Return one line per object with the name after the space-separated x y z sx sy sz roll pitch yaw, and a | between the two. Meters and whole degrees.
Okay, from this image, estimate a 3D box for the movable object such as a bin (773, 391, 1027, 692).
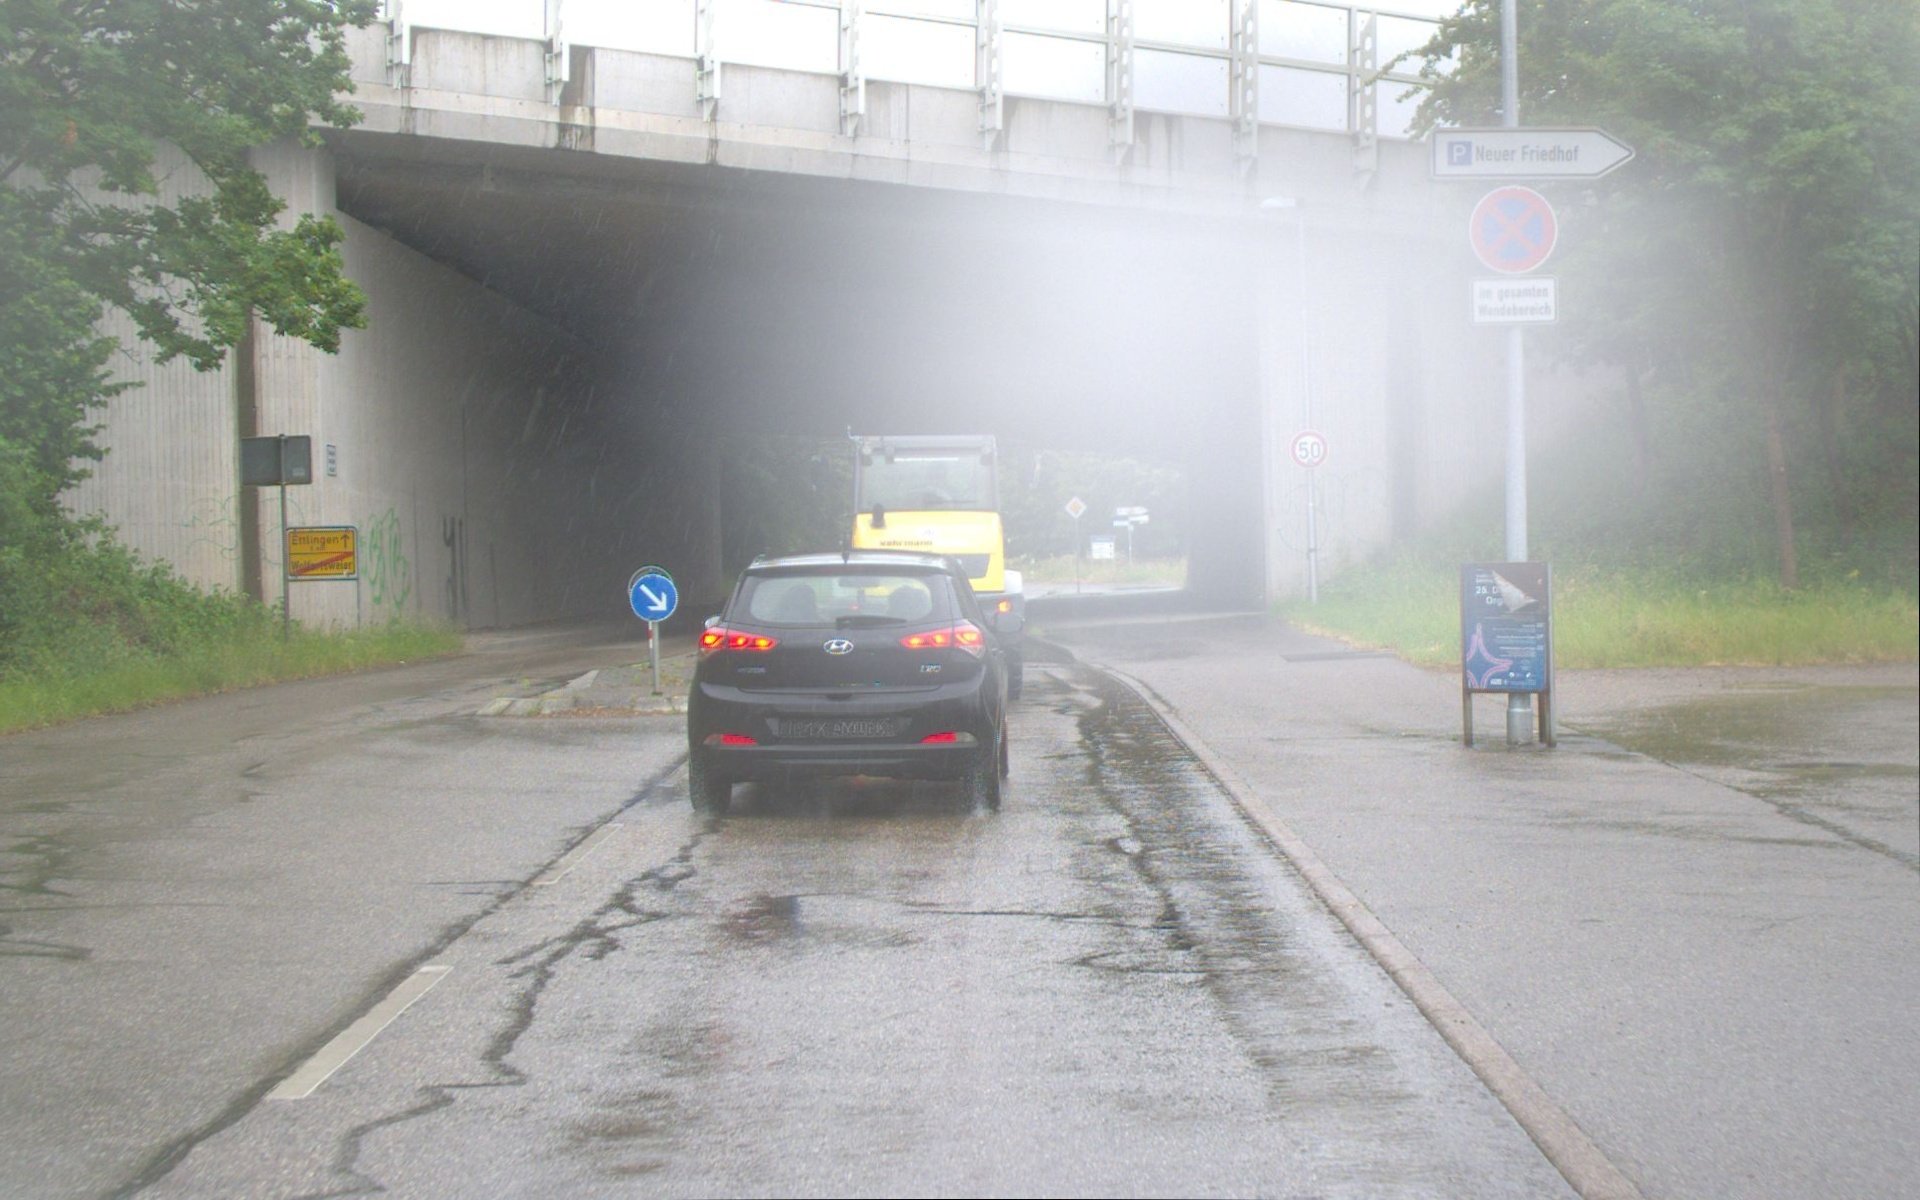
-0.585 -0.560 33.931 2.245 2.660 6.627 0 1 -1 | movable object such as a bin

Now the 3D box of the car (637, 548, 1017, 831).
-0.736 0.452 20.161 1.993 1.482 4.000 0 1 -1 | car
